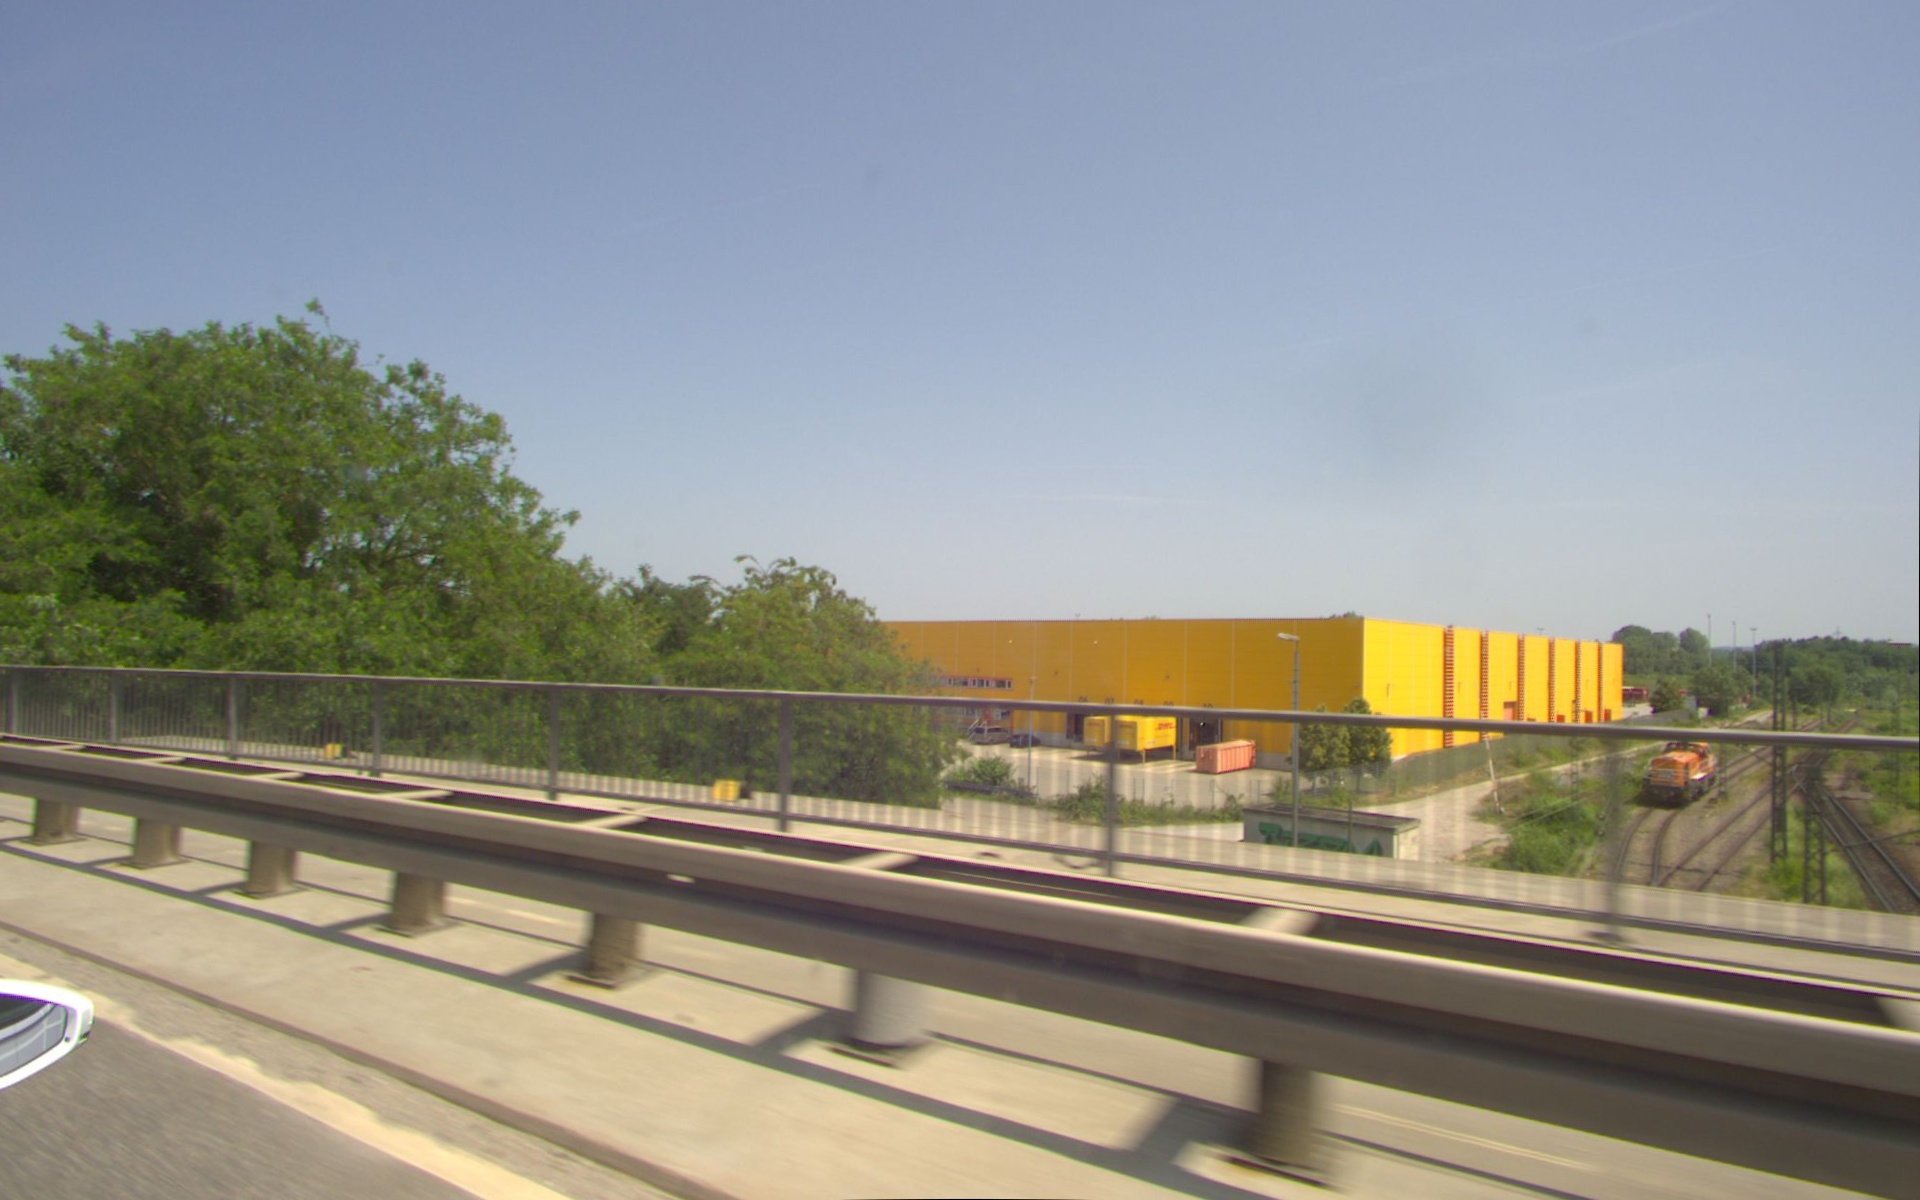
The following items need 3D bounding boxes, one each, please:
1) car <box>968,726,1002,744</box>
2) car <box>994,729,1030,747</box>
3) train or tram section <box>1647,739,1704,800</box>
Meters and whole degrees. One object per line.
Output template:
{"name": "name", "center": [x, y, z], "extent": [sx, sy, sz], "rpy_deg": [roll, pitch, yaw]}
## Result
{"name": "car", "center": [2.767, 14.804, 110.010], "extent": [1.780, 1.468, 3.815], "rpy_deg": [0, -2, 41]}
{"name": "car", "center": [5.574, 14.786, 107.475], "extent": [1.782, 1.468, 3.811], "rpy_deg": [0, -2, 44]}
{"name": "train or tram section", "center": [54.639, 12.743, 76.270], "extent": [2.214, 3.734, 13.908], "rpy_deg": [0, -4, 41]}
